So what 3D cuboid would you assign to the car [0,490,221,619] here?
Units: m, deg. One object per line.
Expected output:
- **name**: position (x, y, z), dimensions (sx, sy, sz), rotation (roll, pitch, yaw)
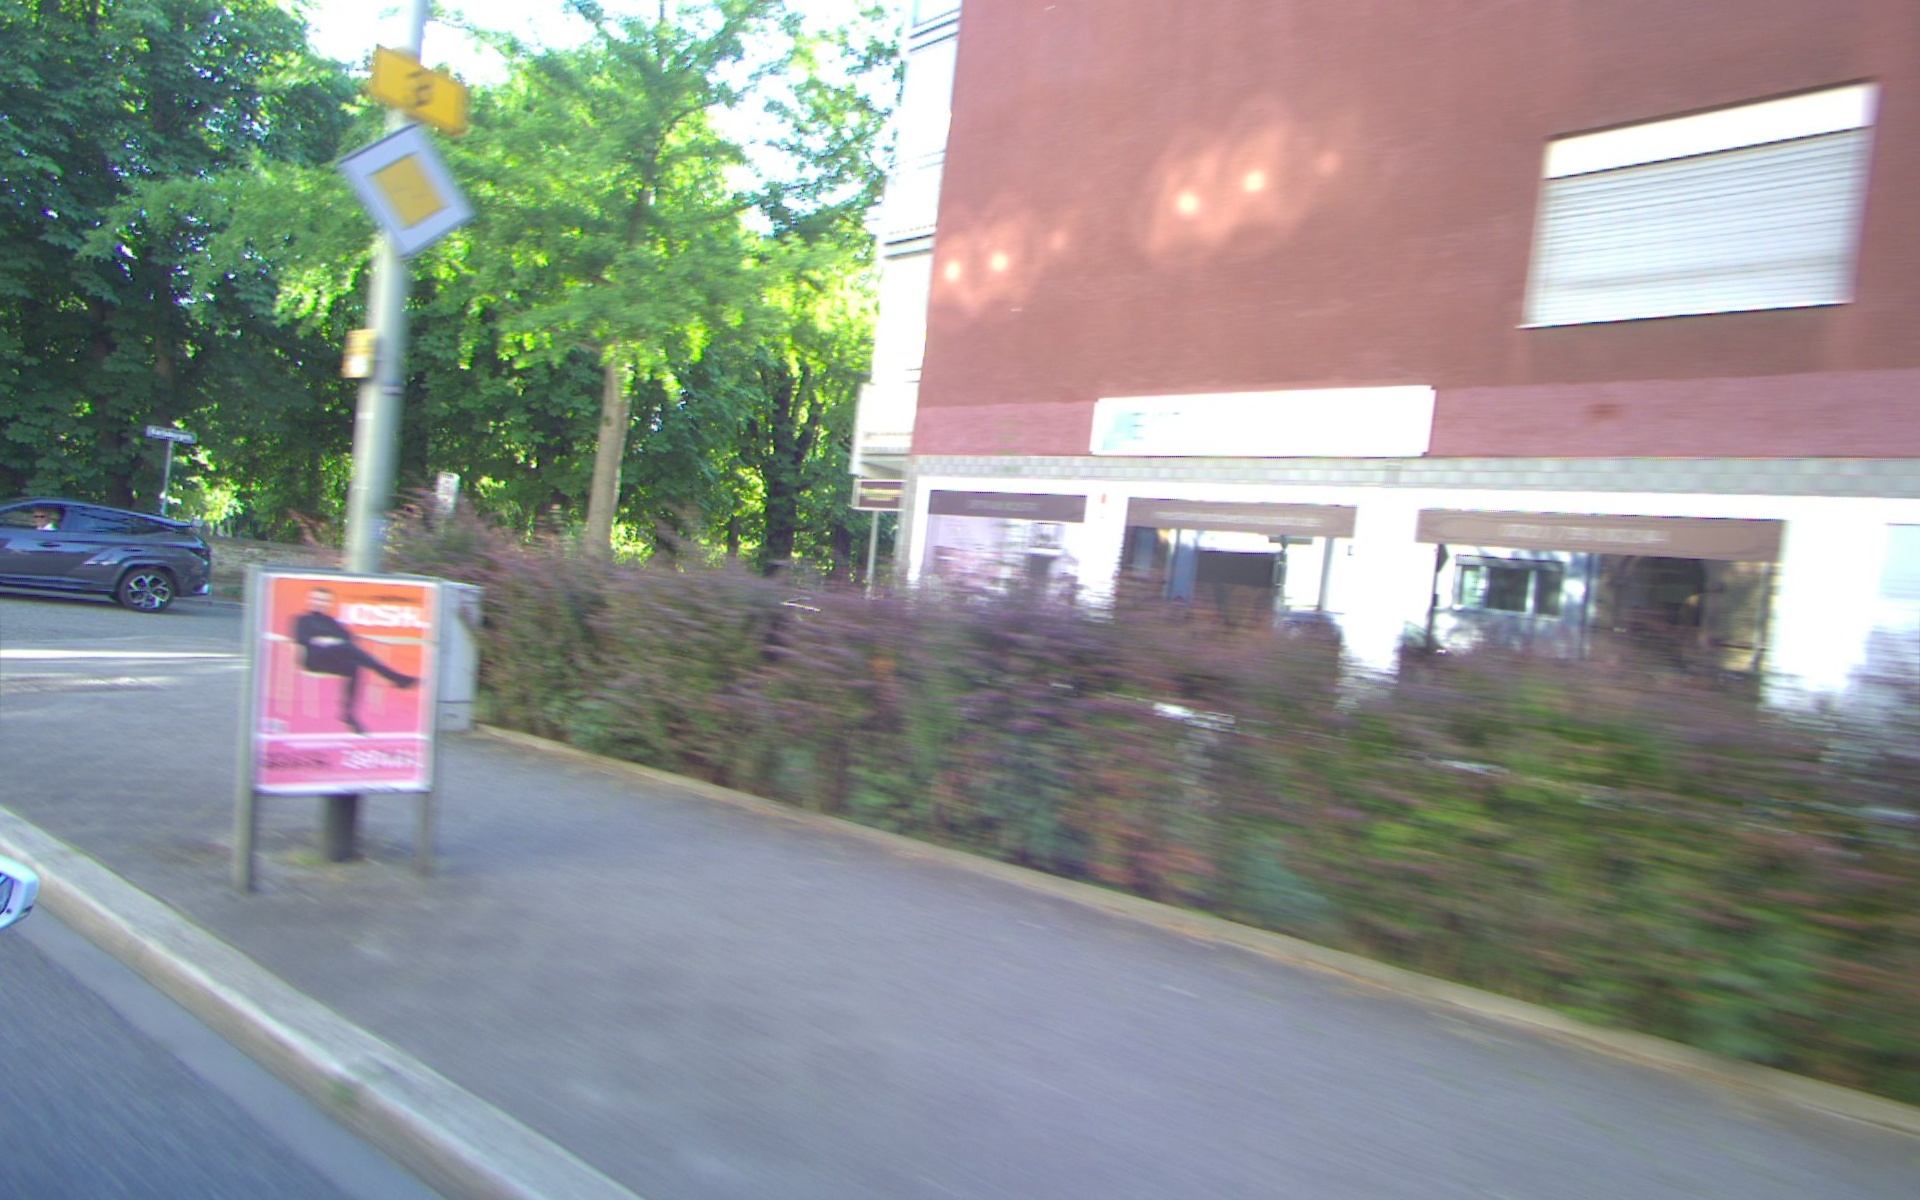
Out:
- **car**: position (-14.767, -0.823, 15.980), dimensions (1.971, 1.673, 4.433), rotation (8, 0, 40)
